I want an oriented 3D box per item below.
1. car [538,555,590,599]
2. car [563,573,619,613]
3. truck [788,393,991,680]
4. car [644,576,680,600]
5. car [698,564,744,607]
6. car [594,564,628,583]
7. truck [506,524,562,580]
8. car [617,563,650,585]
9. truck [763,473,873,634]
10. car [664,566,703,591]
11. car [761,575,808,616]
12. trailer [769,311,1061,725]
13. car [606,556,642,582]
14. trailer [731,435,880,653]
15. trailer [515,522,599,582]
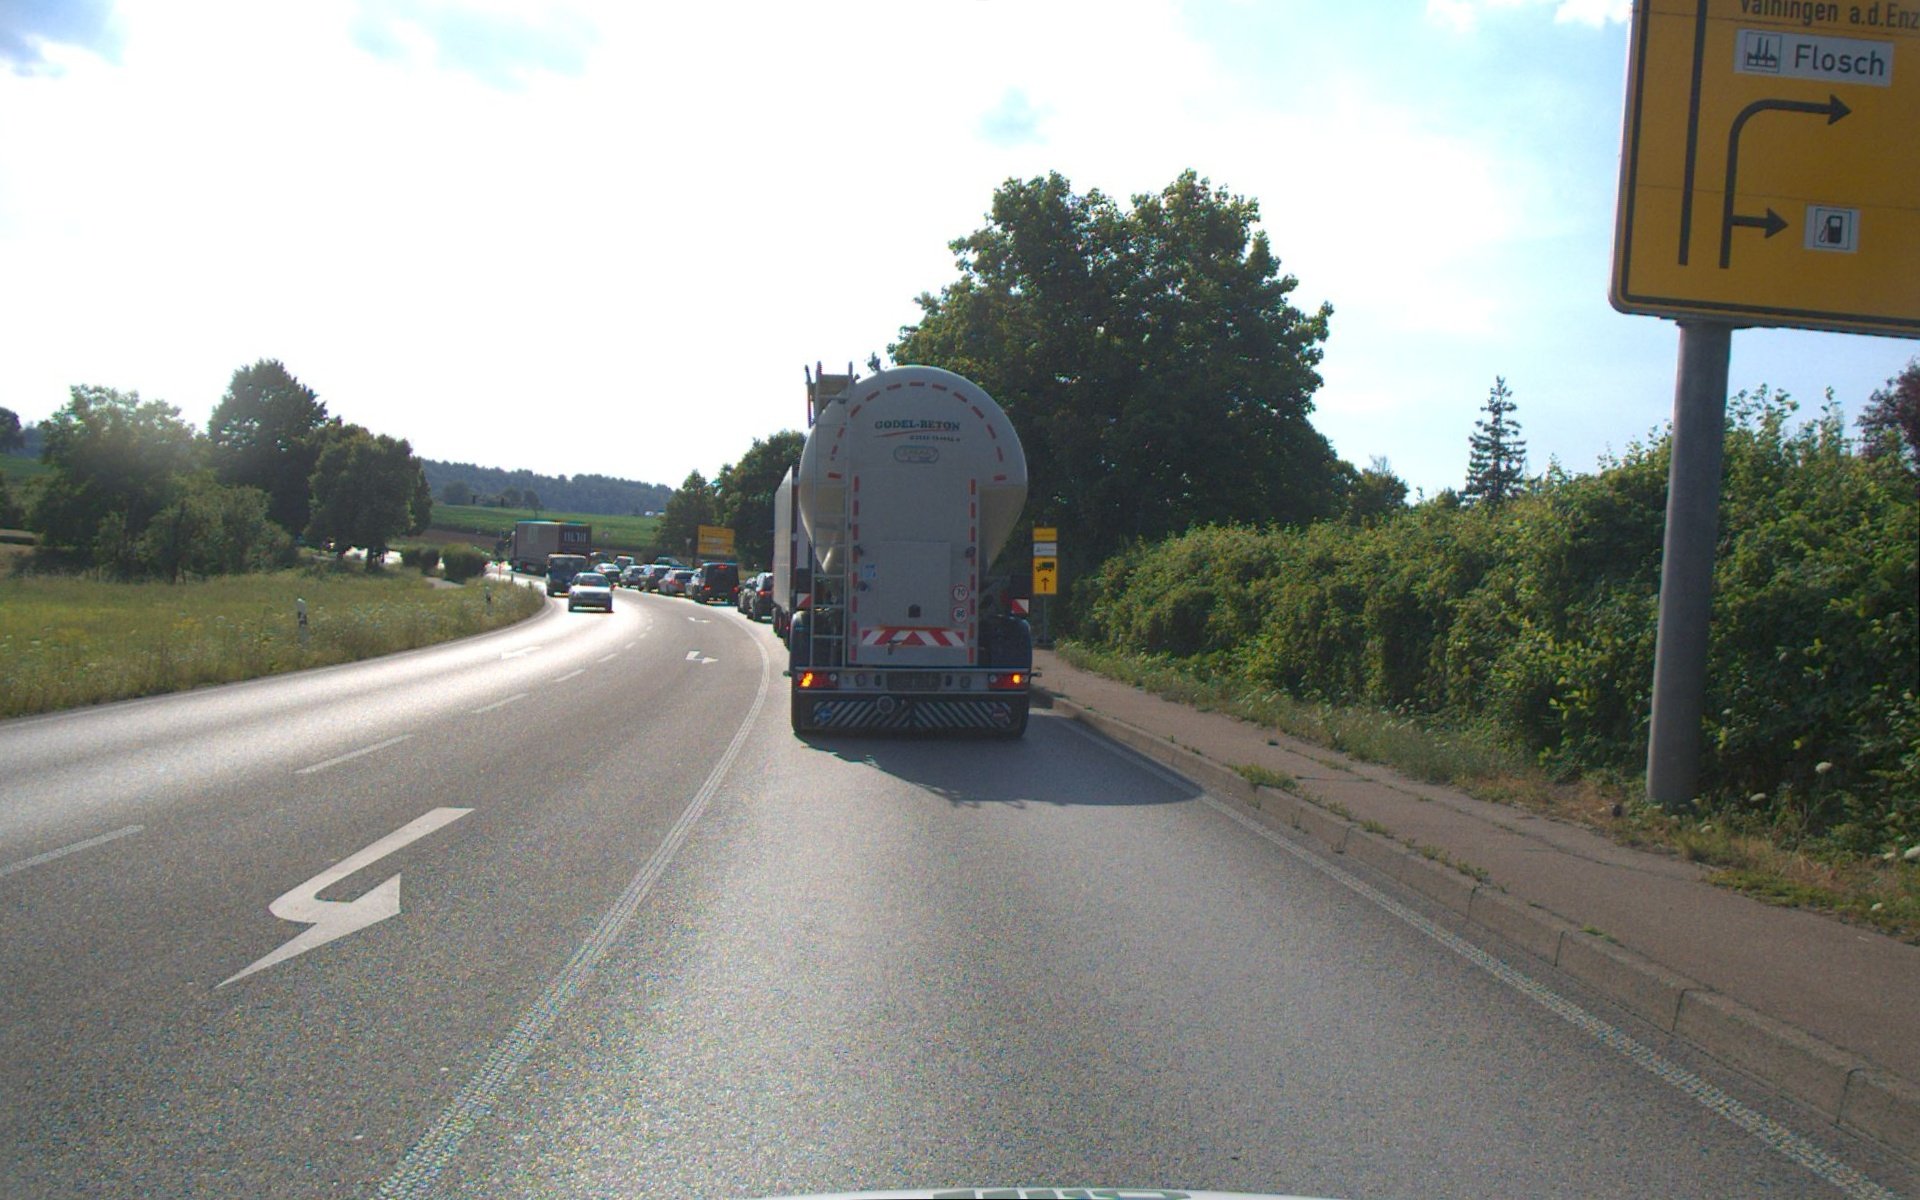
[{"bbox_3d":[-20.843,-1.200,86.954,1.970,2.174,4.747,2,0,-22],"label":"car"},{"bbox_3d":[-14.362,-0.284,64.509,1.674,1.453,4.172,2,0,-7],"label":"car"},{"bbox_3d":[-1.162,-0.924,25.885,2.852,4.076,4.056,1,0,-5],"label":"truck"},{"bbox_3d":[-18.356,-0.737,101.811,1.558,1.364,3.404,2,0,-21],"label":"car"},{"bbox_3d":[-11.842,-0.720,81.748,1.830,2.049,3.705,1,1,-14],"label":"car"},{"bbox_3d":[-24.447,-1.863,115.854,1.744,1.227,3.404,2,0,-21],"label":"car"},{"bbox_3d":[-36.146,-4.061,140.103,3.336,4.426,5.657,2,0,-27],"label":"truck"},{"bbox_3d":[-21.686,-1.759,109.660,1.558,1.364,3.404,2,0,-21],"label":"car"},{"bbox_3d":[-4.136,-1.324,48.829,2.893,4.378,4.927,2,0,-4],"label":"truck"},{"bbox_3d":[-16.059,-1.268,95.858,1.558,1.364,3.404,2,0,-21],"label":"car"},{"bbox_3d":[-6.313,-0.167,59.382,1.550,1.364,3.420,2,0,-7],"label":"car"},{"bbox_3d":[-0.820,-0.852,21.502,2.852,4.076,9.921,1,0,-4],"label":"trailer"},{"bbox_3d":[-28.551,-2.628,140.601,1.970,2.048,3.965,1,2,-27],"label":"car"},{"bbox_3d":[-3.659,-1.236,41.417,2.896,4.390,14.165,2,0,-4],"label":"trailer"},{"bbox_3d":[-32.477,-3.855,132.788,3.335,4.426,14.171,2,1,-27],"label":"trailer"}]
